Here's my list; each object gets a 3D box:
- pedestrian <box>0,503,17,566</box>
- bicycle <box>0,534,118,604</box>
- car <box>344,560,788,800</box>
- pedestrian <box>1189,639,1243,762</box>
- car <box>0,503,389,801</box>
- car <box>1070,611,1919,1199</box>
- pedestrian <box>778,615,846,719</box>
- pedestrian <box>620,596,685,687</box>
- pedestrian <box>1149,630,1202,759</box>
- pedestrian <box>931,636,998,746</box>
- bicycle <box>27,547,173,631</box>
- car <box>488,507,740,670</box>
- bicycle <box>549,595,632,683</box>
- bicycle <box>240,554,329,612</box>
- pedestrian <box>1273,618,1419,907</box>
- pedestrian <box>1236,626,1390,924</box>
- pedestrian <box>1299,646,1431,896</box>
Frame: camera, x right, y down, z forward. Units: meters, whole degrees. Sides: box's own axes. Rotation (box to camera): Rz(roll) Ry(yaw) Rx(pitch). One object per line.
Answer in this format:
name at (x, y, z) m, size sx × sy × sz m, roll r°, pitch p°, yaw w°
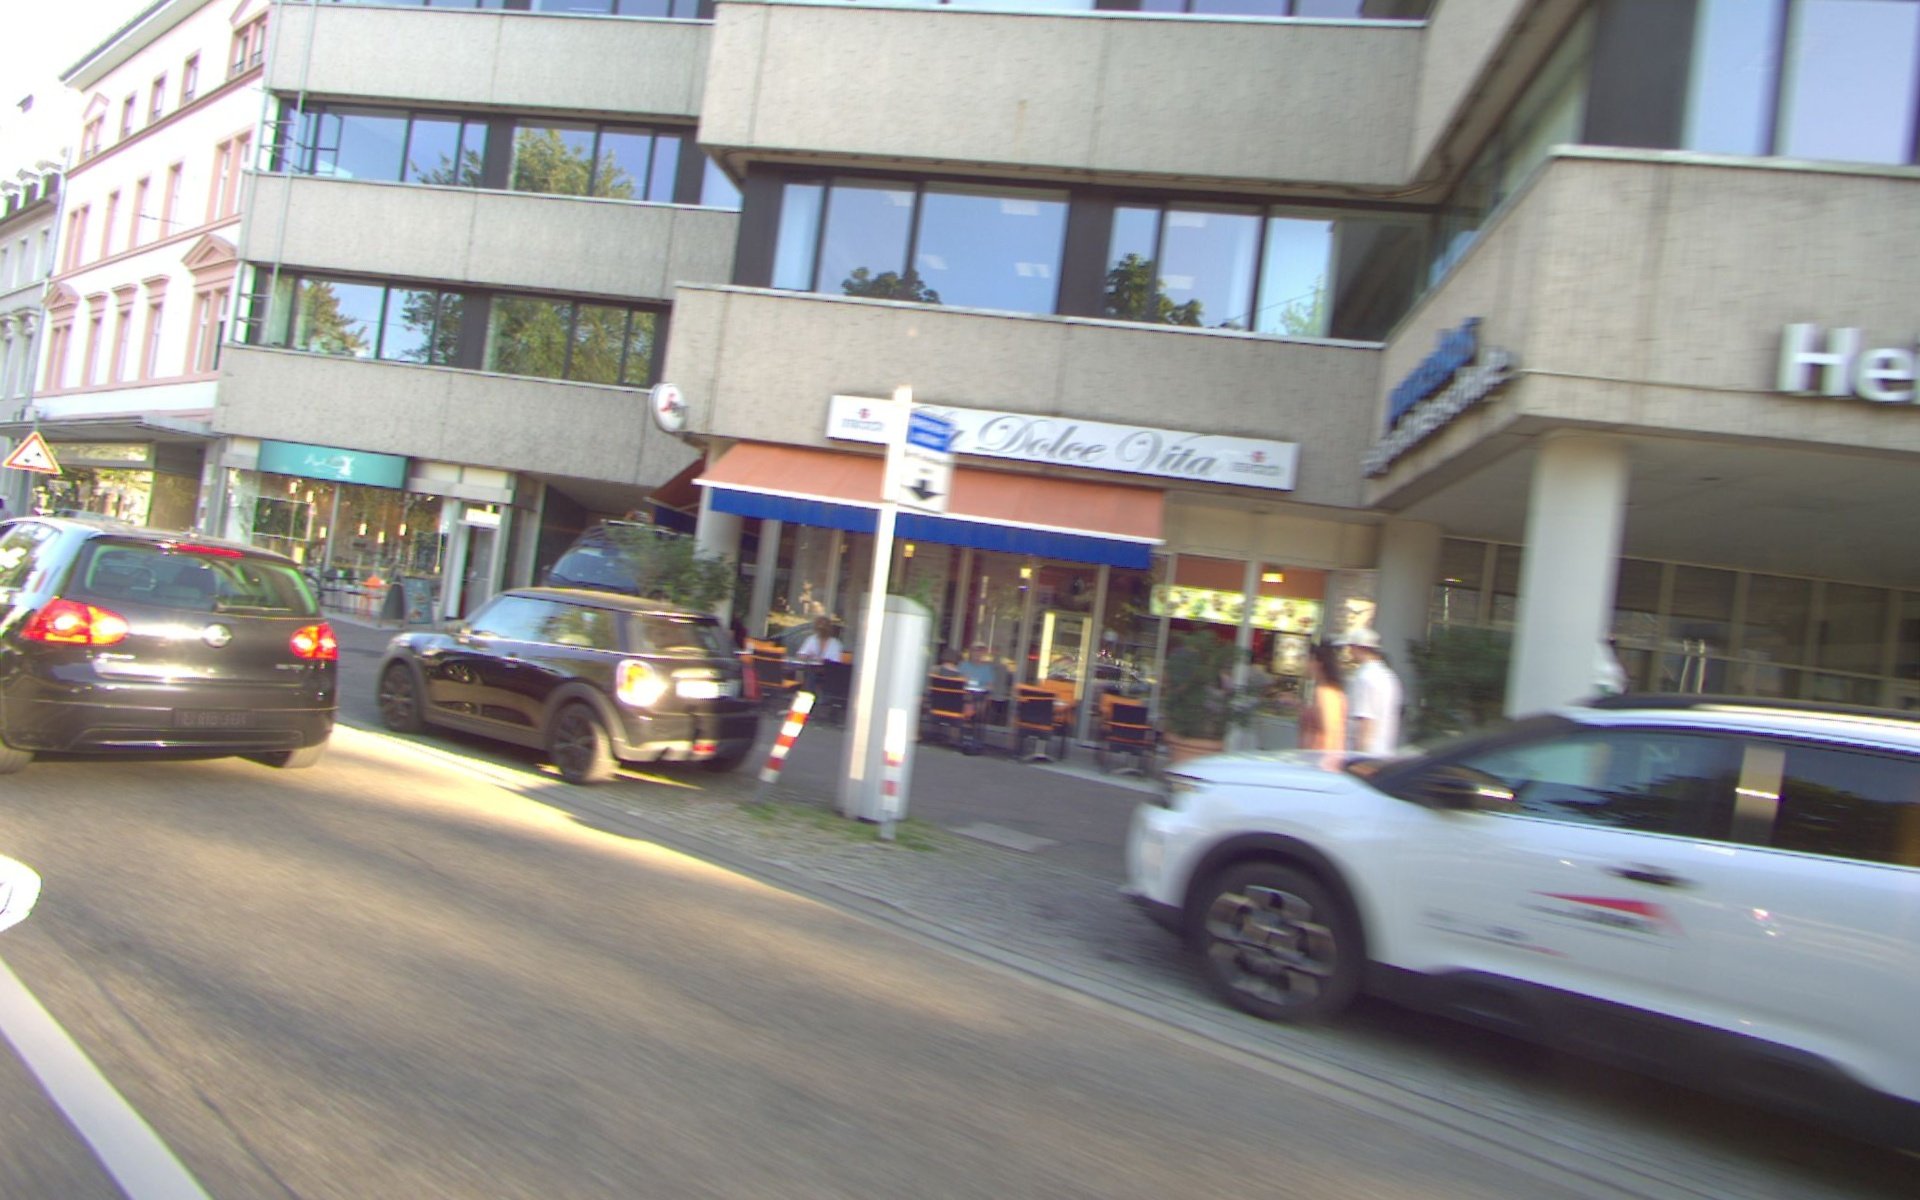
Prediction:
pedestrian at (-25.661, -1.775, 26.802) m, size 0.489 × 1.643 × 0.503 m, roll 7°, pitch -3°, yaw 35°
bicycle at (-16.881, -0.574, 18.615) m, size 1.829 × 1.058 × 0.577 m, roll 7°, pitch 1°, yaw -25°
car at (-3.561, 0.594, 8.925) m, size 3.760 × 1.459 × 1.664 m, roll 6°, pitch 0°, yaw 32°
pedestrian at (3.671, 1.436, 14.454) m, size 0.511 × 1.667 × 0.600 m, roll 8°, pitch -2°, yaw 11°
car at (-5.892, 0.197, 6.882) m, size 4.039 × 1.477 × 1.750 m, roll 6°, pitch -3°, yaw 35°
car at (2.973, 1.183, 4.516) m, size 4.432 × 1.735 × 1.868 m, roll 6°, pitch 0°, yaw 33°
pedestrian at (-1.980, 0.892, 13.539) m, size 0.650 × 1.297 × 0.653 m, roll 6°, pitch 0°, yaw 5°
pedestrian at (-4.701, 0.635, 15.402) m, size 0.640 × 1.297 × 0.554 m, roll 6°, pitch 0°, yaw 7°
pedestrian at (3.120, 1.363, 14.581) m, size 0.511 × 1.779 × 0.600 m, roll 8°, pitch -2°, yaw 11°
pedestrian at (0.072, 1.144, 12.910) m, size 0.649 × 1.297 × 0.769 m, roll 6°, pitch 0°, yaw 7°
bicycle at (-13.732, -0.168, 16.118) m, size 1.585 × 1.133 × 0.609 m, roll 7°, pitch 1°, yaw -22°
car at (-6.309, -0.086, 19.237) m, size 2.052 × 2.471 × 5.338 m, roll 6°, pitch -1°, yaw 9°
bicycle at (-5.276, 0.522, 14.458) m, size 0.525 × 1.133 × 1.814 m, roll 7°, pitch 0°, yaw -4°
bicycle at (-14.884, -0.374, 22.187) m, size 1.497 × 1.133 × 0.514 m, roll 5°, pitch 1°, yaw -9°
pedestrian at (2.742, 1.109, 7.144) m, size 0.651 × 1.881 × 0.622 m, roll 6°, pitch 1°, yaw 36°
pedestrian at (2.327, 1.105, 6.623) m, size 0.651 × 1.782 × 0.578 m, roll 6°, pitch 1°, yaw 36°
pedestrian at (3.129, 1.277, 7.765) m, size 0.651 × 1.762 × 0.622 m, roll 6°, pitch 1°, yaw 36°
